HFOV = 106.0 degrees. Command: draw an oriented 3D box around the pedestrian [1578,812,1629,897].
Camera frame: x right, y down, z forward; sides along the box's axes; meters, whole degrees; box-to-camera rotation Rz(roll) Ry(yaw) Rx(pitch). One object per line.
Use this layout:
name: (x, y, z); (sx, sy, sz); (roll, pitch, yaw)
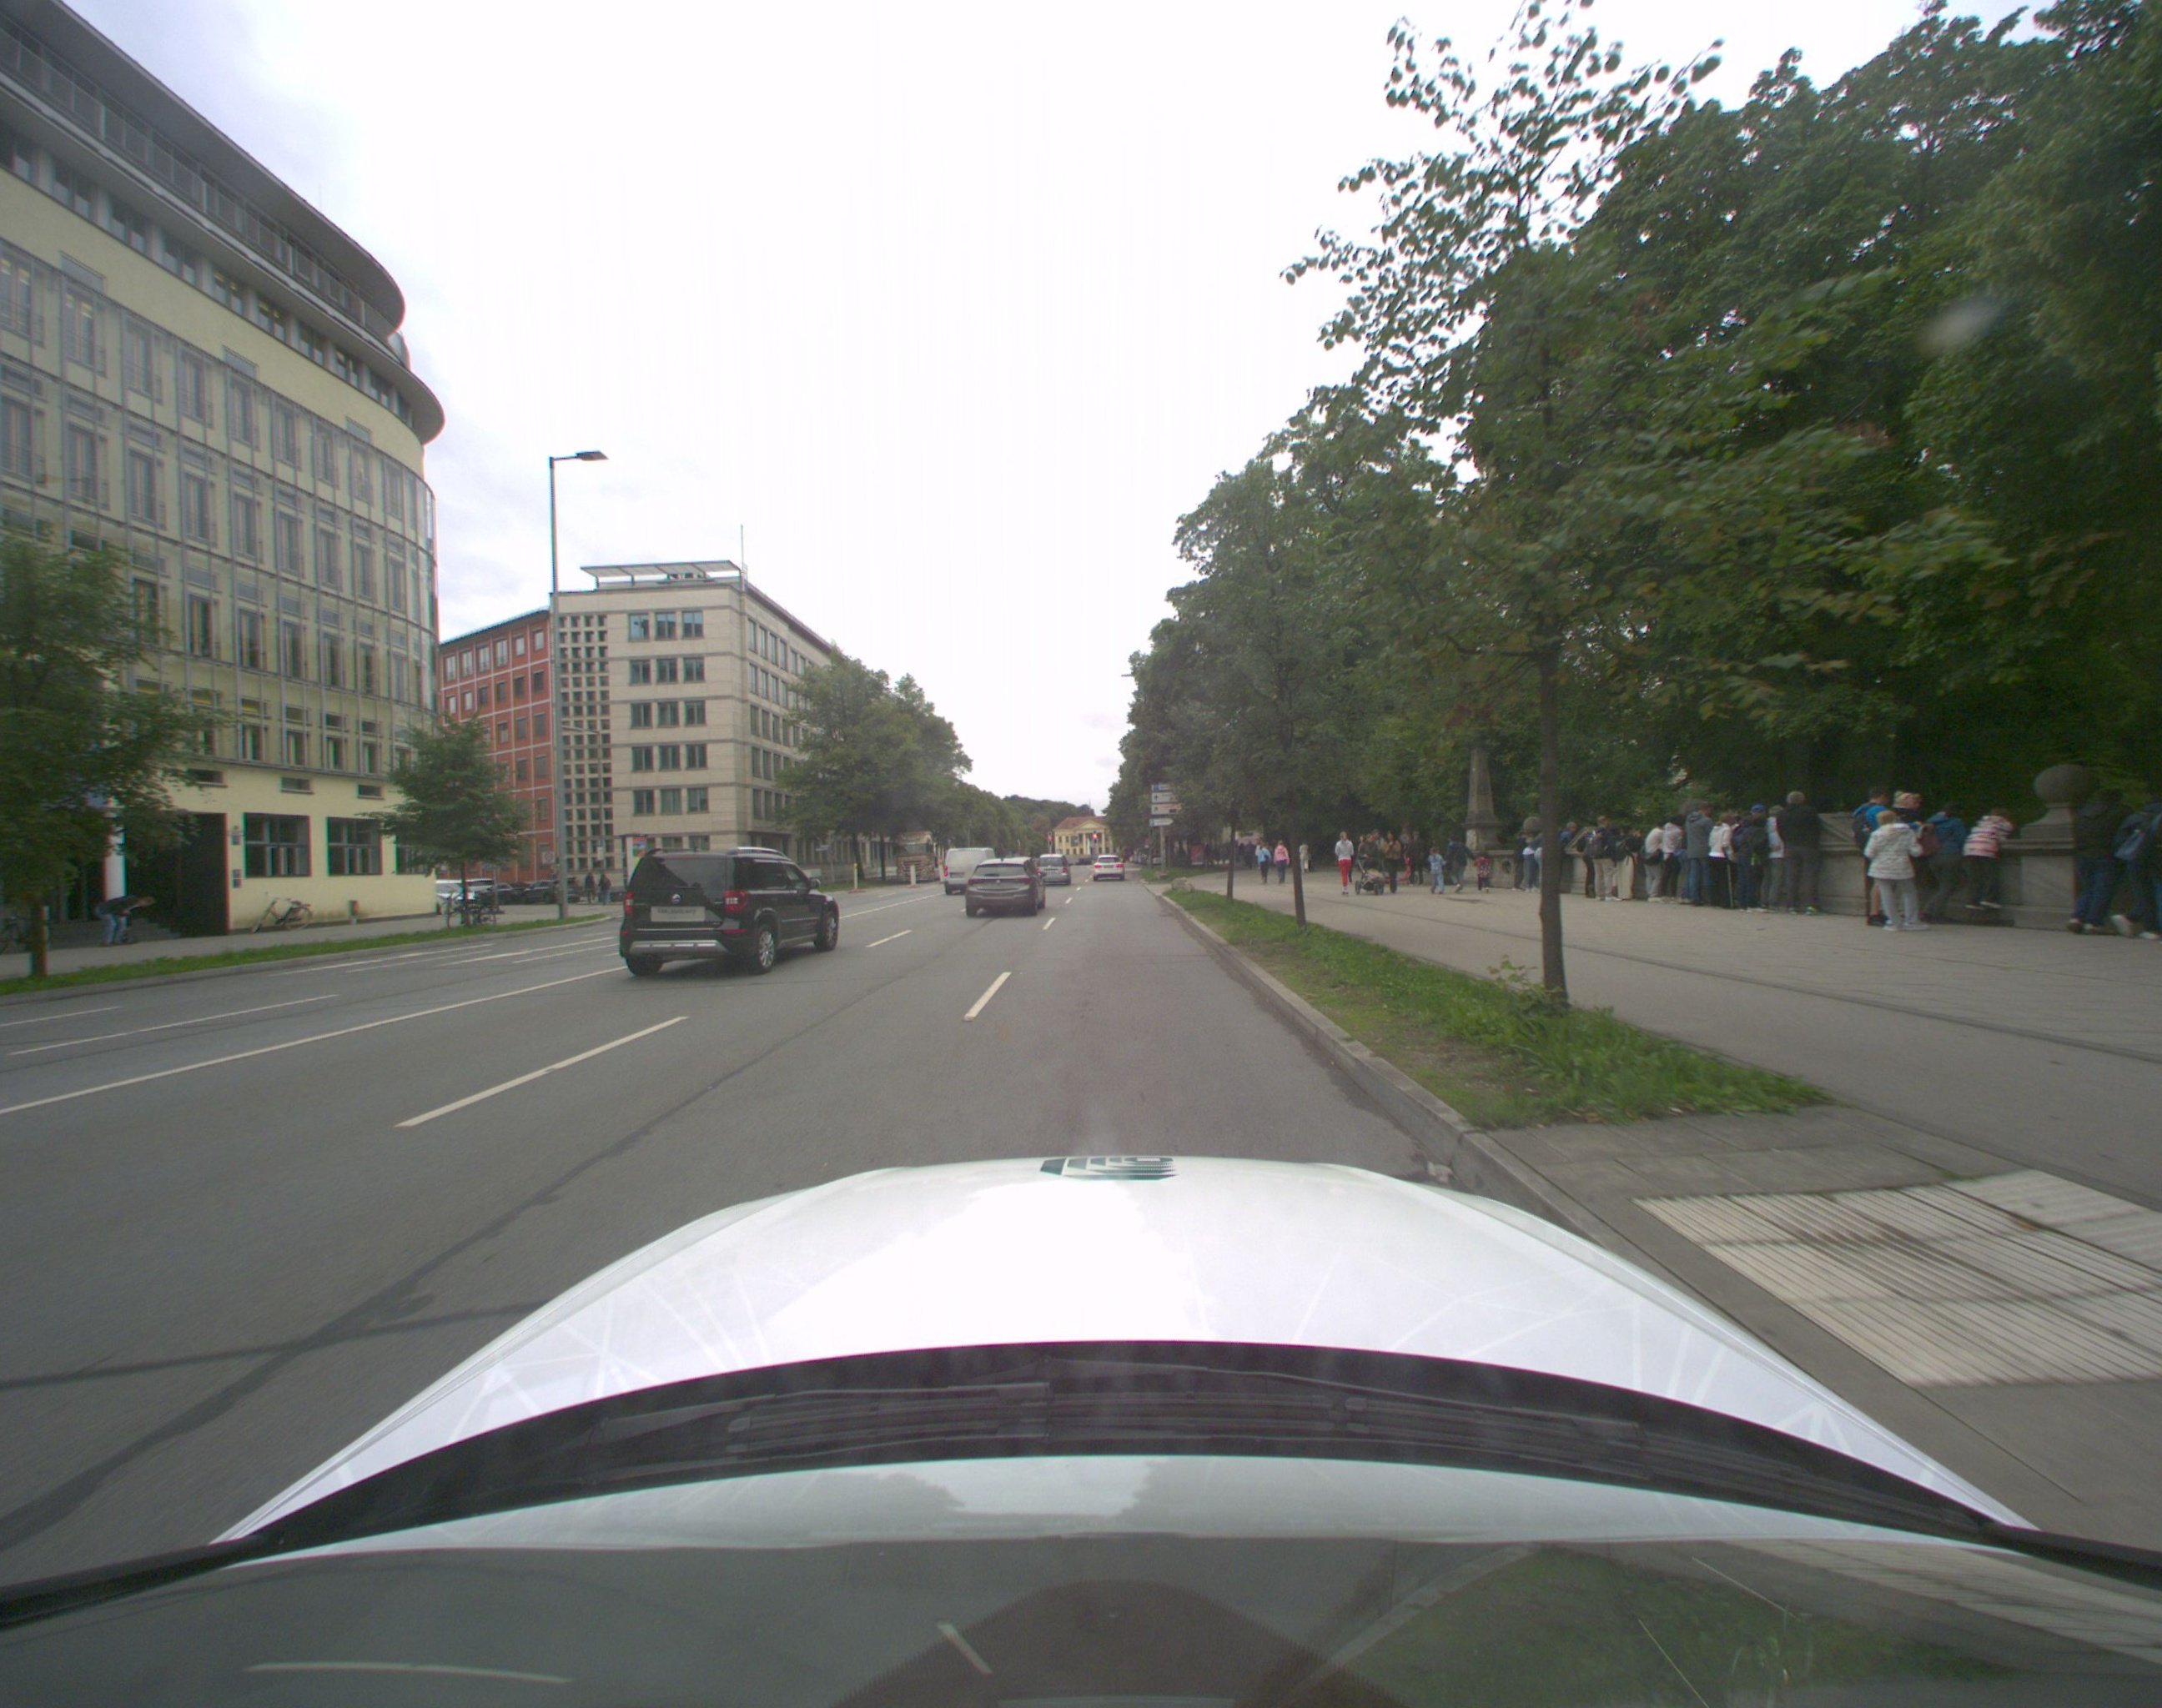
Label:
pedestrian: (10.700, 0.013, 16.694); (0.589, 1.690, 0.729); (-1, 0, 4)

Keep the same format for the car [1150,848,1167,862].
car: (9.159, 0.106, 96.536); (1.820, 1.549, 4.755); (-3, 0, 3)

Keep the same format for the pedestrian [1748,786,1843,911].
pedestrian: (10.976, -0.082, 12.534); (0.808, 1.851, 0.729); (-1, 0, 4)

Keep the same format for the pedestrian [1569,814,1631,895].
pedestrian: (11.318, 0.003, 17.778); (0.808, 1.690, 0.729); (-3, 0, 4)

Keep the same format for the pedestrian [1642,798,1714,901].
pedestrian: (11.339, -0.083, 15.495); (0.808, 1.917, 0.729); (-1, 0, 4)

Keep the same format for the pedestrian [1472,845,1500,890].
pedestrian: (10.531, 0.352, 21.193); (0.455, 1.153, 0.649); (-1, 0, 7)

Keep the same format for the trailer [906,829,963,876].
trailer: (-12.476, -0.121, 70.535); (2.941, 3.740, 11.764); (-1, 0, -1)

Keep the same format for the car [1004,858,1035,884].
car: (-4.021, 1.090, 53.842); (1.774, 1.654, 3.998); (-1, 0, -1)

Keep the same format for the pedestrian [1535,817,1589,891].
pedestrian: (11.525, 0.000, 19.532); (0.808, 1.690, 0.729); (-2, 0, 4)

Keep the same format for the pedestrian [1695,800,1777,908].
pedestrian: (11.226, 0.003, 13.975); (0.808, 1.790, 0.729); (-1, 0, 4)

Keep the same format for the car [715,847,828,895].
car: (-18.032, 0.973, 47.620); (5.666, 2.536, 2.155); (-2, 0, -3)

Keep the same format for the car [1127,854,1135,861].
car: (11.061, 0.813, 181.526); (1.717, 1.324, 4.030); (-3, 0, 3)

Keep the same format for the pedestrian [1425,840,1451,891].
pedestrian: (9.461, 0.302, 21.604); (0.455, 1.326, 0.649); (-1, 0, 7)

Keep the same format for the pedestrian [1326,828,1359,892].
pedestrian: (7.076, 0.169, 22.060); (0.722, 1.690, 0.649); (-1, 0, 7)

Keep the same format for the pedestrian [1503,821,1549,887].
pedestrian: (11.643, -0.001, 21.306); (0.808, 1.690, 0.729); (-1, 0, 4)

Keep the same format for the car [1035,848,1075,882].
car: (-1.268, 0.535, 41.647); (1.773, 1.654, 4.001); (-1, 0, 1)

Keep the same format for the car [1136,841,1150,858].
car: (10.270, -0.718, 134.421); (1.987, 2.643, 4.878); (-1, 0, 1)

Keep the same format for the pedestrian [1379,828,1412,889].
pedestrian: (8.904, 0.138, 23.080); (0.722, 1.690, 0.649); (-1, 0, 7)

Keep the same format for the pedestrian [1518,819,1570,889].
pedestrian: (11.538, 0.000, 20.323); (0.808, 1.690, 0.729); (-3, 0, 4)

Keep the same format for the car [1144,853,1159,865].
car: (9.416, 0.660, 108.853); (1.717, 1.464, 4.779); (-3, 0, 3)

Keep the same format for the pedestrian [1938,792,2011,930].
pedestrian: (11.328, 0.089, 10.334); (0.419, 1.704, 0.443); (-1, 0, 2)

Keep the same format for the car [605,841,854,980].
car: (-4.890, 0.706, 12.081); (1.716, 1.636, 4.206); (-2, 0, 1)

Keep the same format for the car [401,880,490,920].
car: (-30.794, 2.224, 39.432); (4.273, 1.750, 1.882); (-2, 0, 30)

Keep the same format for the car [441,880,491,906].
car: (-41.743, 2.654, 55.284); (3.143, 1.664, 1.499); (-2, 0, 29)

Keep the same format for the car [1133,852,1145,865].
car: (9.138, 0.690, 127.565); (1.717, 1.867, 4.030); (-3, 0, 3)

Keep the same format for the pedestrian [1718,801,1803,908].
pedestrian: (11.047, 0.006, 13.262); (0.808, 1.690, 0.674); (-1, 0, 4)

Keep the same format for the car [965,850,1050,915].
car: (-1.854, 0.693, 21.702); (1.703, 1.552, 4.003); (-1, 0, 3)

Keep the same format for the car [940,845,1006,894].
car: (-4.474, 0.630, 34.472); (1.891, 1.847, 4.957); (-2, 0, 1)

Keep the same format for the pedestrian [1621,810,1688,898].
pedestrian: (11.419, 0.001, 16.246); (0.808, 1.690, 0.729); (-1, 0, 4)

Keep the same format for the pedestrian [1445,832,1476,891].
pedestrian: (9.980, 0.192, 21.420); (0.546, 1.527, 0.649); (-1, 0, 7)

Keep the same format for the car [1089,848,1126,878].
car: (1.497, 0.495, 47.028); (1.775, 1.644, 3.995); (-1, 0, -3)

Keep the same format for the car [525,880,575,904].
car: (-32.869, 2.373, 50.412); (3.197, 1.375, 1.481); (-3, 0, 36)

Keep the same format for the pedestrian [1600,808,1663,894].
pedestrian: (11.460, -0.058, 16.973); (0.808, 1.739, 0.729); (-1, 0, 4)

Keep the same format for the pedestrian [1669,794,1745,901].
pedestrian: (11.300, -0.118, 14.722); (0.808, 1.874, 0.729); (-1, 0, 4)

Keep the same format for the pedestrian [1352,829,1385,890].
pedestrian: (8.190, 0.150, 23.218); (0.722, 1.690, 0.649); (-1, 0, 7)
